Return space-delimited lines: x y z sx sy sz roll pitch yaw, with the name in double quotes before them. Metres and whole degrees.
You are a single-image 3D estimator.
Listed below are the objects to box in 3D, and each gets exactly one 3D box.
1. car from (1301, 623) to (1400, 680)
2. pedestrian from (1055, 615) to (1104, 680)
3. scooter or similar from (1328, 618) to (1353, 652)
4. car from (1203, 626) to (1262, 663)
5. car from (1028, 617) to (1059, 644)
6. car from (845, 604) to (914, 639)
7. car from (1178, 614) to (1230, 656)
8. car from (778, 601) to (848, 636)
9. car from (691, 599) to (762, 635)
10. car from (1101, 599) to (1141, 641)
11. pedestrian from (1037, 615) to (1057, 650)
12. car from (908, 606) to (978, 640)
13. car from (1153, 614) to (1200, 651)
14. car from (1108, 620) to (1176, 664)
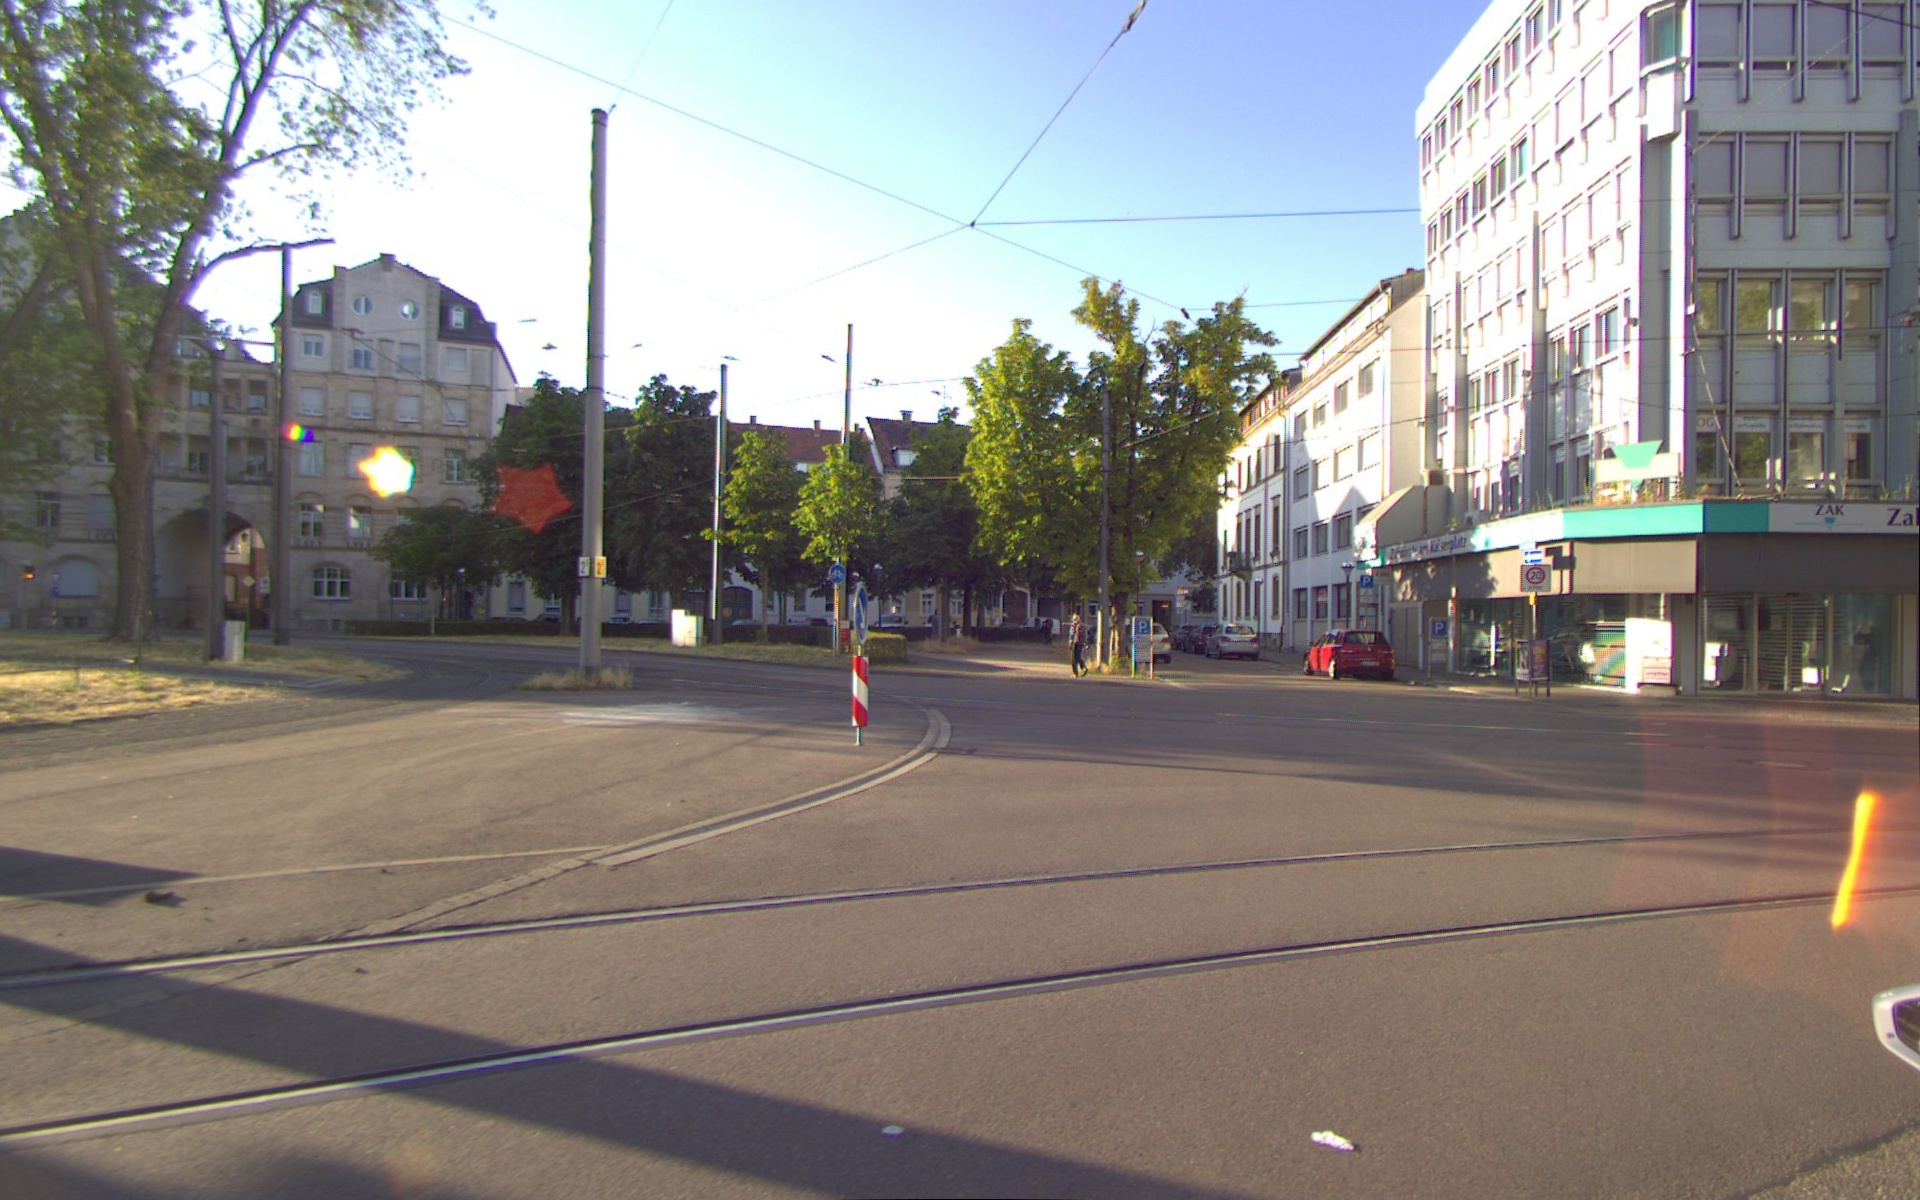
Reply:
"car" 11.722 1.503 30.446 1.986 1.504 4.003 1 -1 9
"pedestrian" 3.315 1.299 27.758 1.140 1.725 0.907 1 -1 20
"scooter or similar" 16.220 1.472 42.843 0.741 1.417 1.925 1 0 28
"car" 12.322 1.977 45.609 1.959 1.550 4.002 1 -1 6
"car" 6.706 2.451 80.911 1.961 2.040 3.999 1 -1 -2
"car" -4.960 1.300 61.858 3.935 2.040 1.993 1 -1 -16
"car" 12.639 1.804 52.194 1.960 2.040 4.002 1 -1 4
"car" -8.903 1.125 60.596 3.935 2.040 1.993 1 -1 -16
"car" -13.719 1.000 58.862 3.935 2.040 1.993 1 -1 -16
"car" 8.364 1.051 52.369 1.959 2.040 4.003 1 -1 8
"pedestrian" 5.245 1.954 60.720 1.097 2.040 1.466 1 -1 4
"car" -1.080 1.451 63.073 3.935 2.040 1.993 1 -1 -16
"car" 12.622 1.869 58.848 1.960 2.040 4.001 1 -1 1
"car" 7.447 1.686 41.450 1.961 1.706 3.999 1 -1 -2
